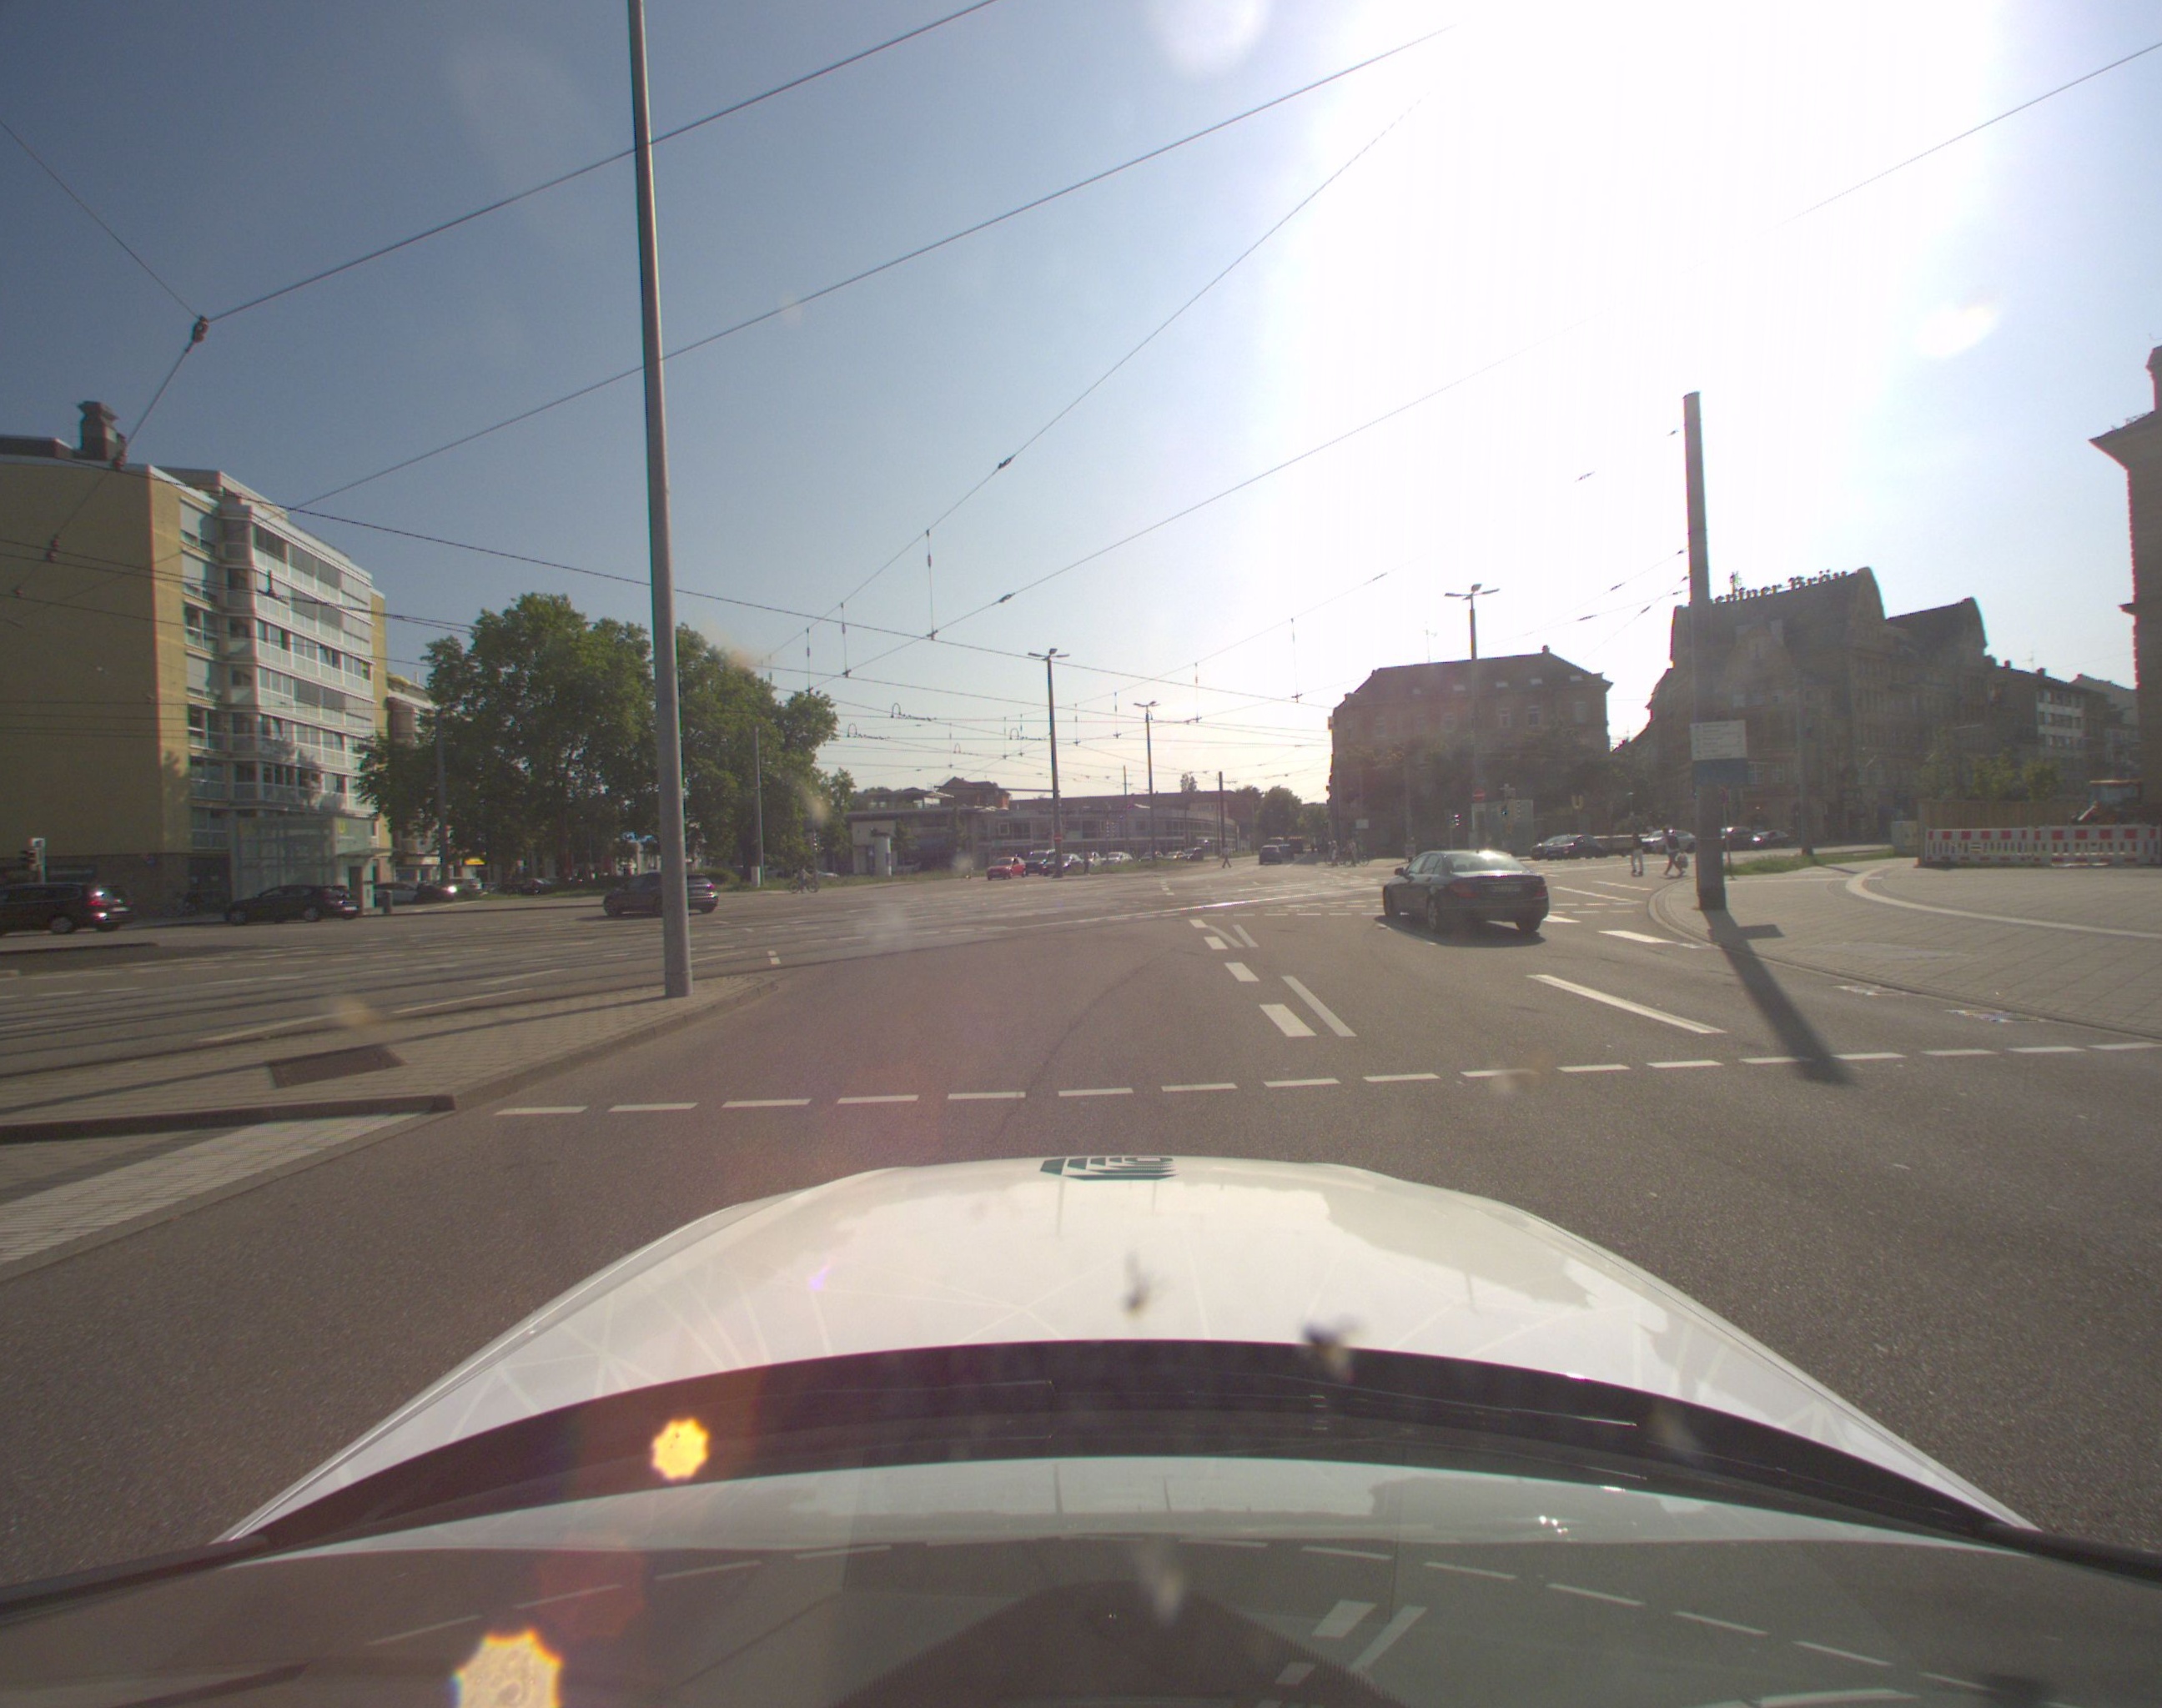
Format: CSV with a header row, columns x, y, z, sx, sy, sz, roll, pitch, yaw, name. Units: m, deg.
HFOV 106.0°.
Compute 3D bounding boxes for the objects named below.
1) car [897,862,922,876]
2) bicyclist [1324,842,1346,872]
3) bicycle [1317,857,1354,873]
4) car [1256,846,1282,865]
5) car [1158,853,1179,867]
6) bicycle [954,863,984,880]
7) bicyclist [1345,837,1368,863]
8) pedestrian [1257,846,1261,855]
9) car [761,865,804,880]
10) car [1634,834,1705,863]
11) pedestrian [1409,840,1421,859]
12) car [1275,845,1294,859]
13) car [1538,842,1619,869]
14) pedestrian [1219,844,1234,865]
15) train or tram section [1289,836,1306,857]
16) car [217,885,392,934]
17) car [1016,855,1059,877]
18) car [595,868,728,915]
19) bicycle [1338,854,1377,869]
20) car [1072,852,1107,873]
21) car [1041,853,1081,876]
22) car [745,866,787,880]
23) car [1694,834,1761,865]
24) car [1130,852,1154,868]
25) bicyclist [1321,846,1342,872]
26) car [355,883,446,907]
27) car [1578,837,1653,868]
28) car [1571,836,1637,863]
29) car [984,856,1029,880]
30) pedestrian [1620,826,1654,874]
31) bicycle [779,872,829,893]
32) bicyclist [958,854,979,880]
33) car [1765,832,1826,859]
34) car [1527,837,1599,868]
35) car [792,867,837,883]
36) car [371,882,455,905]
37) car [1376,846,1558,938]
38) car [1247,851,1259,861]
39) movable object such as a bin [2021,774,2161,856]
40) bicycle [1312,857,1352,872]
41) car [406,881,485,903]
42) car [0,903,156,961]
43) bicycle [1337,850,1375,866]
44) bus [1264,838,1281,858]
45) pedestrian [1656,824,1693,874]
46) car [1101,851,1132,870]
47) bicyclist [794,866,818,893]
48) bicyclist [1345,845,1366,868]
x,y,z,sx,sy,sz,roll,pitch,yaw,name
-19.933,1.728,94.677,1.691,1.522,4.106,-2,0,5,car
17.498,0.233,56.117,0.941,2.024,1.081,-2,0,-36,bicyclist
17.556,0.775,56.137,2.638,0.964,1.081,-2,0,-36,bicycle
15.737,0.105,68.136,1.811,1.428,4.431,-3,0,16,car
10.173,0.717,94.914,1.601,1.475,4.018,-4,-1,17,car
-7.664,1.194,55.710,0.950,1.057,2.620,-2,0,17,bicycle
18.435,-0.259,54.480,0.941,1.708,1.081,-2,0,-36,bicyclist
32.838,-0.697,149.884,0.590,1.630,0.640,-2,-1,18,pedestrian
-35.007,2.171,95.580,1.683,1.522,4.544,-2,0,32,car
40.477,-0.378,56.005,4.675,1.859,2.027,-2,0,-27,car
26.311,-0.324,64.151,0.672,1.471,0.540,-2,-1,-43,pedestrian
21.581,-0.246,86.223,1.812,1.428,4.431,-3,0,16,car
29.045,0.077,47.544,4.397,1.397,2.006,-2,0,-27,car
10.770,0.023,60.175,0.781,1.503,0.705,-2,0,-24,pedestrian
40.122,-1.400,151.217,2.636,3.699,10.628,-3,0,14,train or tram section
-28.756,2.012,30.323,4.366,1.491,1.679,-2,0,-15,car
-3.279,0.881,62.238,1.945,1.475,4.017,-4,-1,16,car
-14.114,1.248,27.350,4.491,1.435,1.850,-2,0,31,car
20.337,0.532,59.951,2.629,0.964,1.085,-2,0,-23,bicycle
0.714,0.625,63.863,1.602,1.475,4.017,-4,-1,16,car
-1.375,0.706,57.662,1.602,1.475,4.017,-4,-1,16,car
-37.197,2.256,96.285,1.683,1.522,4.544,-2,0,32,car
42.615,-0.311,53.701,4.077,1.859,1.894,-2,0,-27,car
6.608,0.636,88.050,1.601,1.475,4.018,-4,-1,17,car
17.972,0.347,58.401,0.938,1.800,1.085,-2,0,-23,bicyclist
-43.853,2.626,52.586,4.168,1.354,1.568,-2,0,-18,car
35.340,-0.089,53.853,4.717,1.859,1.894,-2,0,-25,car
39.344,-0.347,61.255,4.272,1.859,1.919,-2,0,-19,car
-5.044,0.929,55.419,1.602,1.475,4.017,-4,-1,16,car
20.175,-0.151,29.523,0.910,1.690,0.843,-2,-1,38,pedestrian
-15.799,1.624,46.542,2.602,1.057,0.956,-2,0,-13,bicycle
-7.667,0.877,55.731,0.950,1.748,1.171,-2,-1,17,bicyclist
52.261,-0.630,59.591,4.123,1.859,1.915,-2,0,-27,car
30.668,-0.087,51.779,4.260,1.859,1.893,-2,0,-27,car
-27.747,2.216,84.955,4.065,1.522,1.708,-2,0,6,car
-46.583,2.741,56.871,4.168,1.354,1.568,-2,0,-18,car
6.998,0.608,15.294,1.674,1.442,4.379,-1,0,5,car
28.905,0.318,136.936,1.601,1.475,4.018,-4,-1,17,car
34.831,-1.307,27.716,8.007,2.442,2.428,-2,0,-32,movable object such as a bin
18.002,0.767,58.408,2.629,0.964,1.085,-2,0,-23,bicycle
-46.414,2.748,59.557,4.168,1.354,1.568,-2,0,-18,car
-35.071,2.647,27.596,4.541,1.678,1.991,-2,0,-14,car
18.359,0.255,54.401,2.638,0.964,1.081,-2,0,-36,bicycle
37.377,-1.131,159.644,2.901,3.619,16.803,-2,0,12,bus
20.549,-0.179,28.191,0.911,1.690,0.931,-2,-1,41,pedestrian
3.142,0.536,70.701,1.601,1.475,4.018,-4,-1,17,car
-15.715,1.444,46.567,1.164,1.527,0.956,0,-1,-13,bicyclist
20.147,0.172,59.870,0.938,1.680,1.085,-2,0,-23,bicyclist
